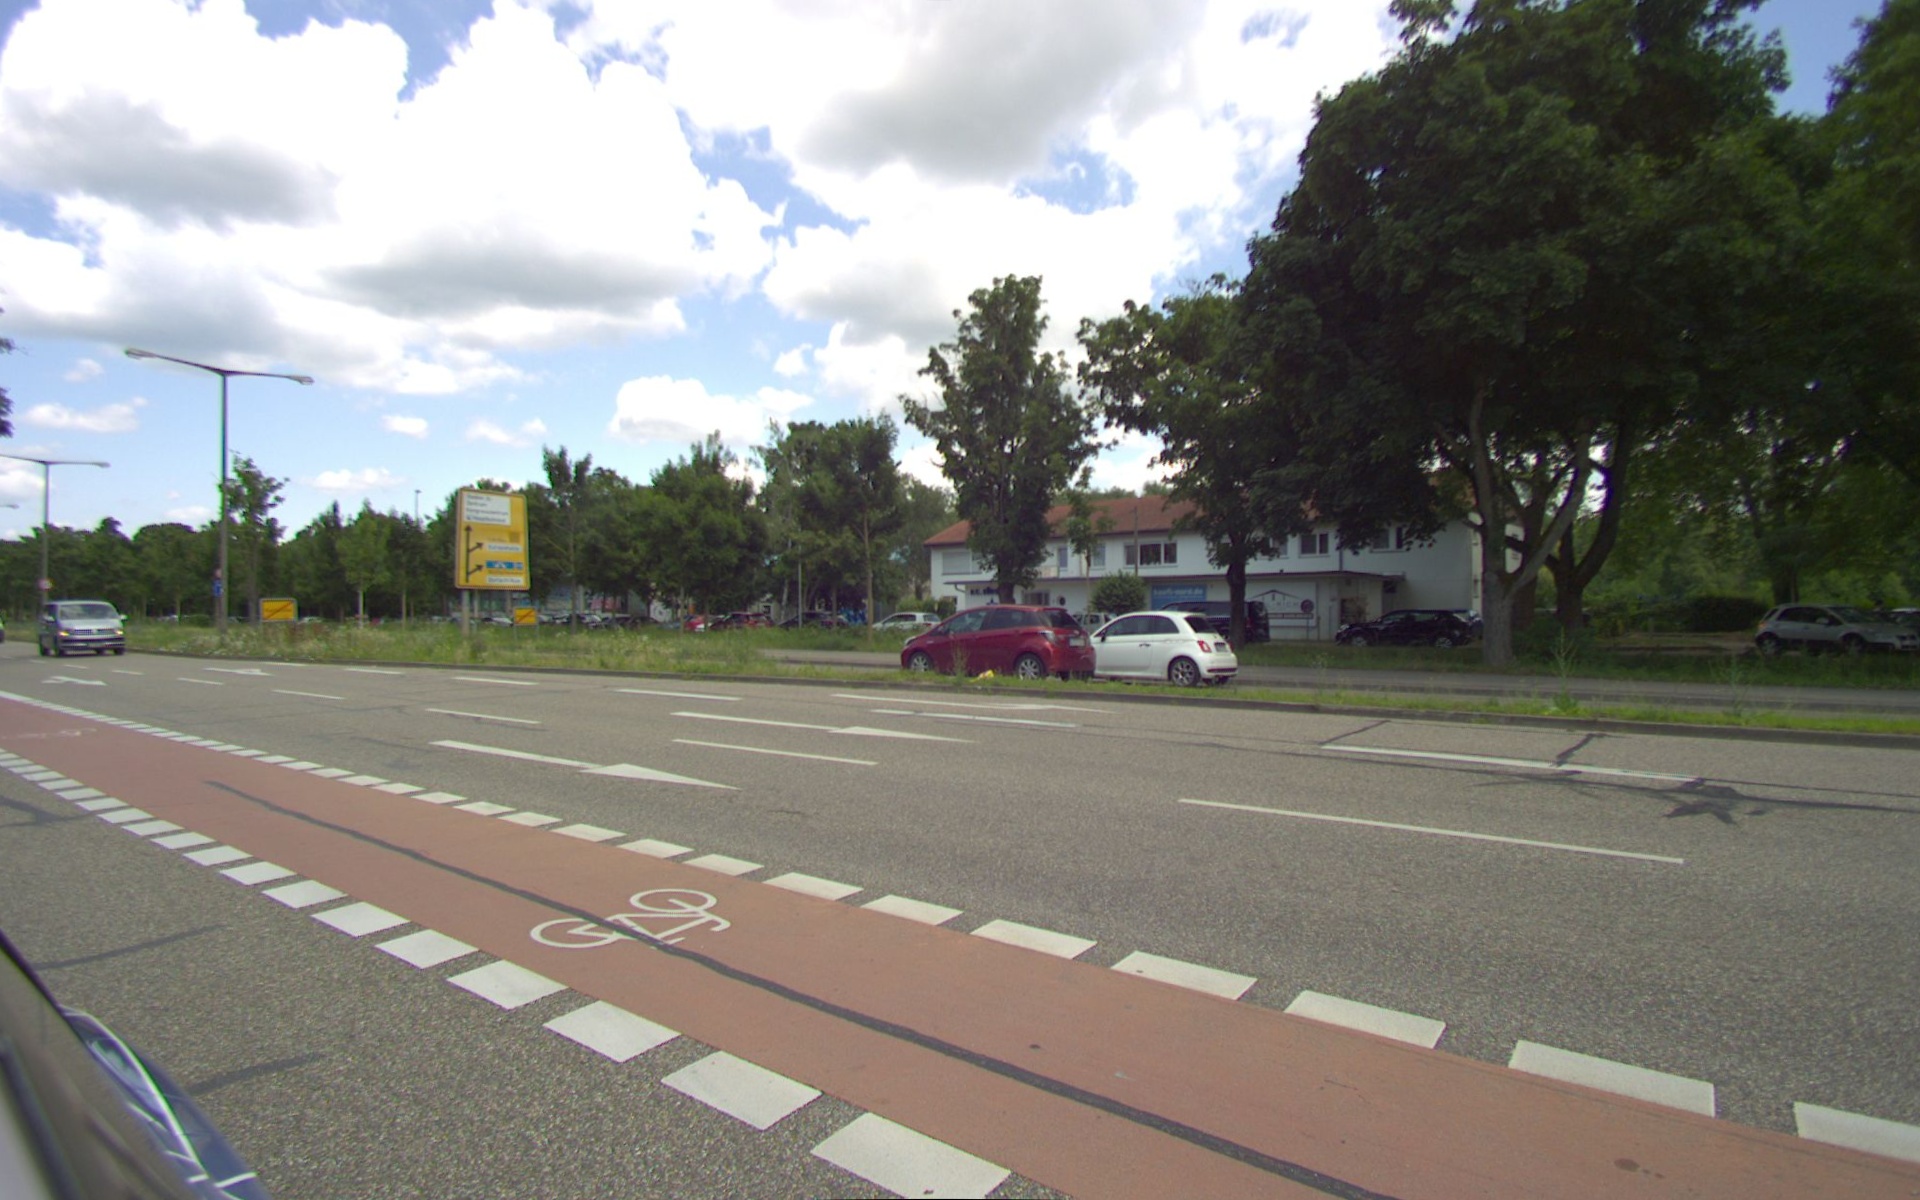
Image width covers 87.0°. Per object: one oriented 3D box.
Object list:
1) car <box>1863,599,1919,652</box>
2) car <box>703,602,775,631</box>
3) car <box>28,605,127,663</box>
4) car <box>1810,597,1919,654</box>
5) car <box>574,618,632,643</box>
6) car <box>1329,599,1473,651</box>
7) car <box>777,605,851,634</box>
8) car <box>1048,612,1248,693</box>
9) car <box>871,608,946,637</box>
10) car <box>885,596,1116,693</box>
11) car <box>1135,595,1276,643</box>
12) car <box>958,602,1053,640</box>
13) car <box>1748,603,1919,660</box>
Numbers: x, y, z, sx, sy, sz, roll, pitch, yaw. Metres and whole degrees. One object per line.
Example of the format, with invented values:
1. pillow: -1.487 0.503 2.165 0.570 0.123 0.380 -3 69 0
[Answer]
1. car: 30.043 0.747 30.287 1.966 1.600 4.033 0 -3 -14
2. car: -12.463 0.933 57.050 4.021 1.600 1.973 -1 -2 41
3. car: -31.872 1.190 36.496 5.226 1.933 1.795 -1 -2 39
4. car: 27.759 0.730 29.573 1.966 1.600 4.033 0 -1 -14
5. car: -23.976 2.015 67.894 4.021 1.600 1.973 -1 -2 41
6. car: 15.056 0.831 34.628 4.347 1.670 1.794 -1 0 30
7. car: -7.645 1.022 52.880 3.864 1.422 1.707 -1 -2 41
8. car: 3.707 0.986 20.175 3.588 1.456 1.596 -1 0 38
9. car: -2.503 1.096 48.585 3.475 1.342 1.604 -1 -2 41
10. car: 0.696 0.790 19.051 3.996 1.630 1.973 -1 -2 40
11. car: 9.290 0.750 38.603 4.927 1.724 1.863 -1 -2 41
12. car: 1.991 0.948 45.076 4.021 1.600 1.740 -1 -2 41
13. car: 25.272 0.880 28.855 1.966 1.495 4.033 0 -1 -14
